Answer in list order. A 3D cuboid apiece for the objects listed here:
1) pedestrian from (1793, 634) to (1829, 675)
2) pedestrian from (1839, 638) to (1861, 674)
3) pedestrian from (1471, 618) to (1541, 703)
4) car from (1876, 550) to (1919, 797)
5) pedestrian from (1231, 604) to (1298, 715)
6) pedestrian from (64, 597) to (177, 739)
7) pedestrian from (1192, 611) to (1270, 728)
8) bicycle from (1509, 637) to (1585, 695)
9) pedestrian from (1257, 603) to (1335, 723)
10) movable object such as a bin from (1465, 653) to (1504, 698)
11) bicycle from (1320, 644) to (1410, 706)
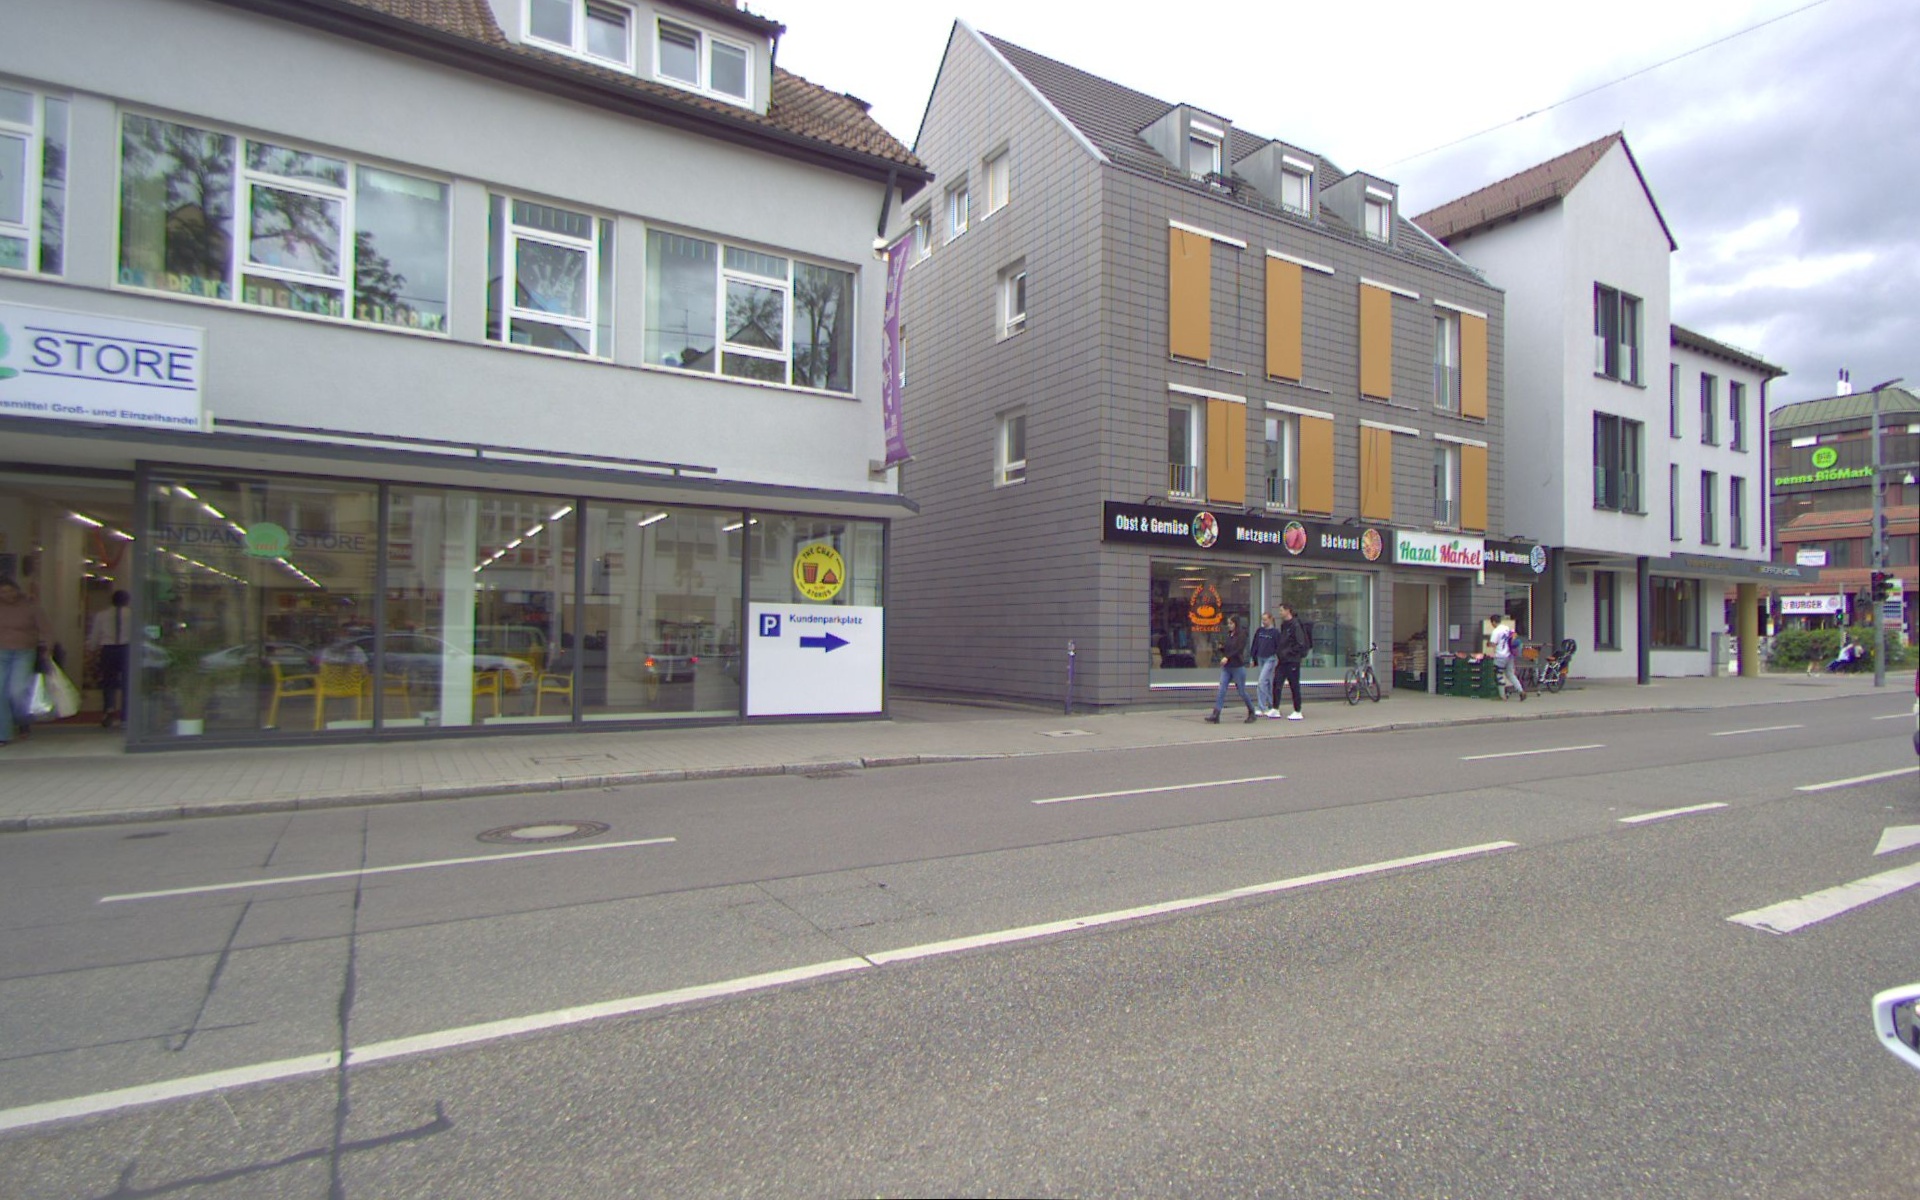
[{"bbox_3d":[37.819,2.410,44.637,0.933,1.778,0.944,1,-1,-28],"label":"pedestrian"},{"bbox_3d":[40.414,2.540,45.613,0.519,1.609,0.636,1,-1,-28],"label":"pedestrian"},{"bbox_3d":[11.083,1.200,20.399,0.960,1.665,0.883,1,-1,-30],"label":"pedestrian"},{"bbox_3d":[10.336,0.654,8.868,4.783,2.040,1.984,1,0,-30],"label":"car"},{"bbox_3d":[5.120,0.988,16.901,0.859,1.805,0.704,1,-1,-29],"label":"pedestrian"},{"bbox_3d":[-9.957,0.781,11.927,0.713,1.601,0.846,-1,-1,34],"label":"pedestrian"},{"bbox_3d":[4.160,1.045,15.425,0.859,1.720,0.800,1,-1,-29],"label":"pedestrian"},{"bbox_3d":[13.324,1.478,22.778,2.095,1.248,0.579,1,-1,-32],"label":"bicycle"},{"bbox_3d":[5.425,0.997,16.216,1.015,1.863,0.704,1,-1,-29],"label":"pedestrian"},{"bbox_3d":[11.157,1.596,21.372,0.501,0.911,0.548,1,-1,-31],"label":"movable object such as a bin"},{"bbox_3d":[7.749,1.412,19.192,1.880,1.115,0.569,1,-1,-30],"label":"bicycle"}]
